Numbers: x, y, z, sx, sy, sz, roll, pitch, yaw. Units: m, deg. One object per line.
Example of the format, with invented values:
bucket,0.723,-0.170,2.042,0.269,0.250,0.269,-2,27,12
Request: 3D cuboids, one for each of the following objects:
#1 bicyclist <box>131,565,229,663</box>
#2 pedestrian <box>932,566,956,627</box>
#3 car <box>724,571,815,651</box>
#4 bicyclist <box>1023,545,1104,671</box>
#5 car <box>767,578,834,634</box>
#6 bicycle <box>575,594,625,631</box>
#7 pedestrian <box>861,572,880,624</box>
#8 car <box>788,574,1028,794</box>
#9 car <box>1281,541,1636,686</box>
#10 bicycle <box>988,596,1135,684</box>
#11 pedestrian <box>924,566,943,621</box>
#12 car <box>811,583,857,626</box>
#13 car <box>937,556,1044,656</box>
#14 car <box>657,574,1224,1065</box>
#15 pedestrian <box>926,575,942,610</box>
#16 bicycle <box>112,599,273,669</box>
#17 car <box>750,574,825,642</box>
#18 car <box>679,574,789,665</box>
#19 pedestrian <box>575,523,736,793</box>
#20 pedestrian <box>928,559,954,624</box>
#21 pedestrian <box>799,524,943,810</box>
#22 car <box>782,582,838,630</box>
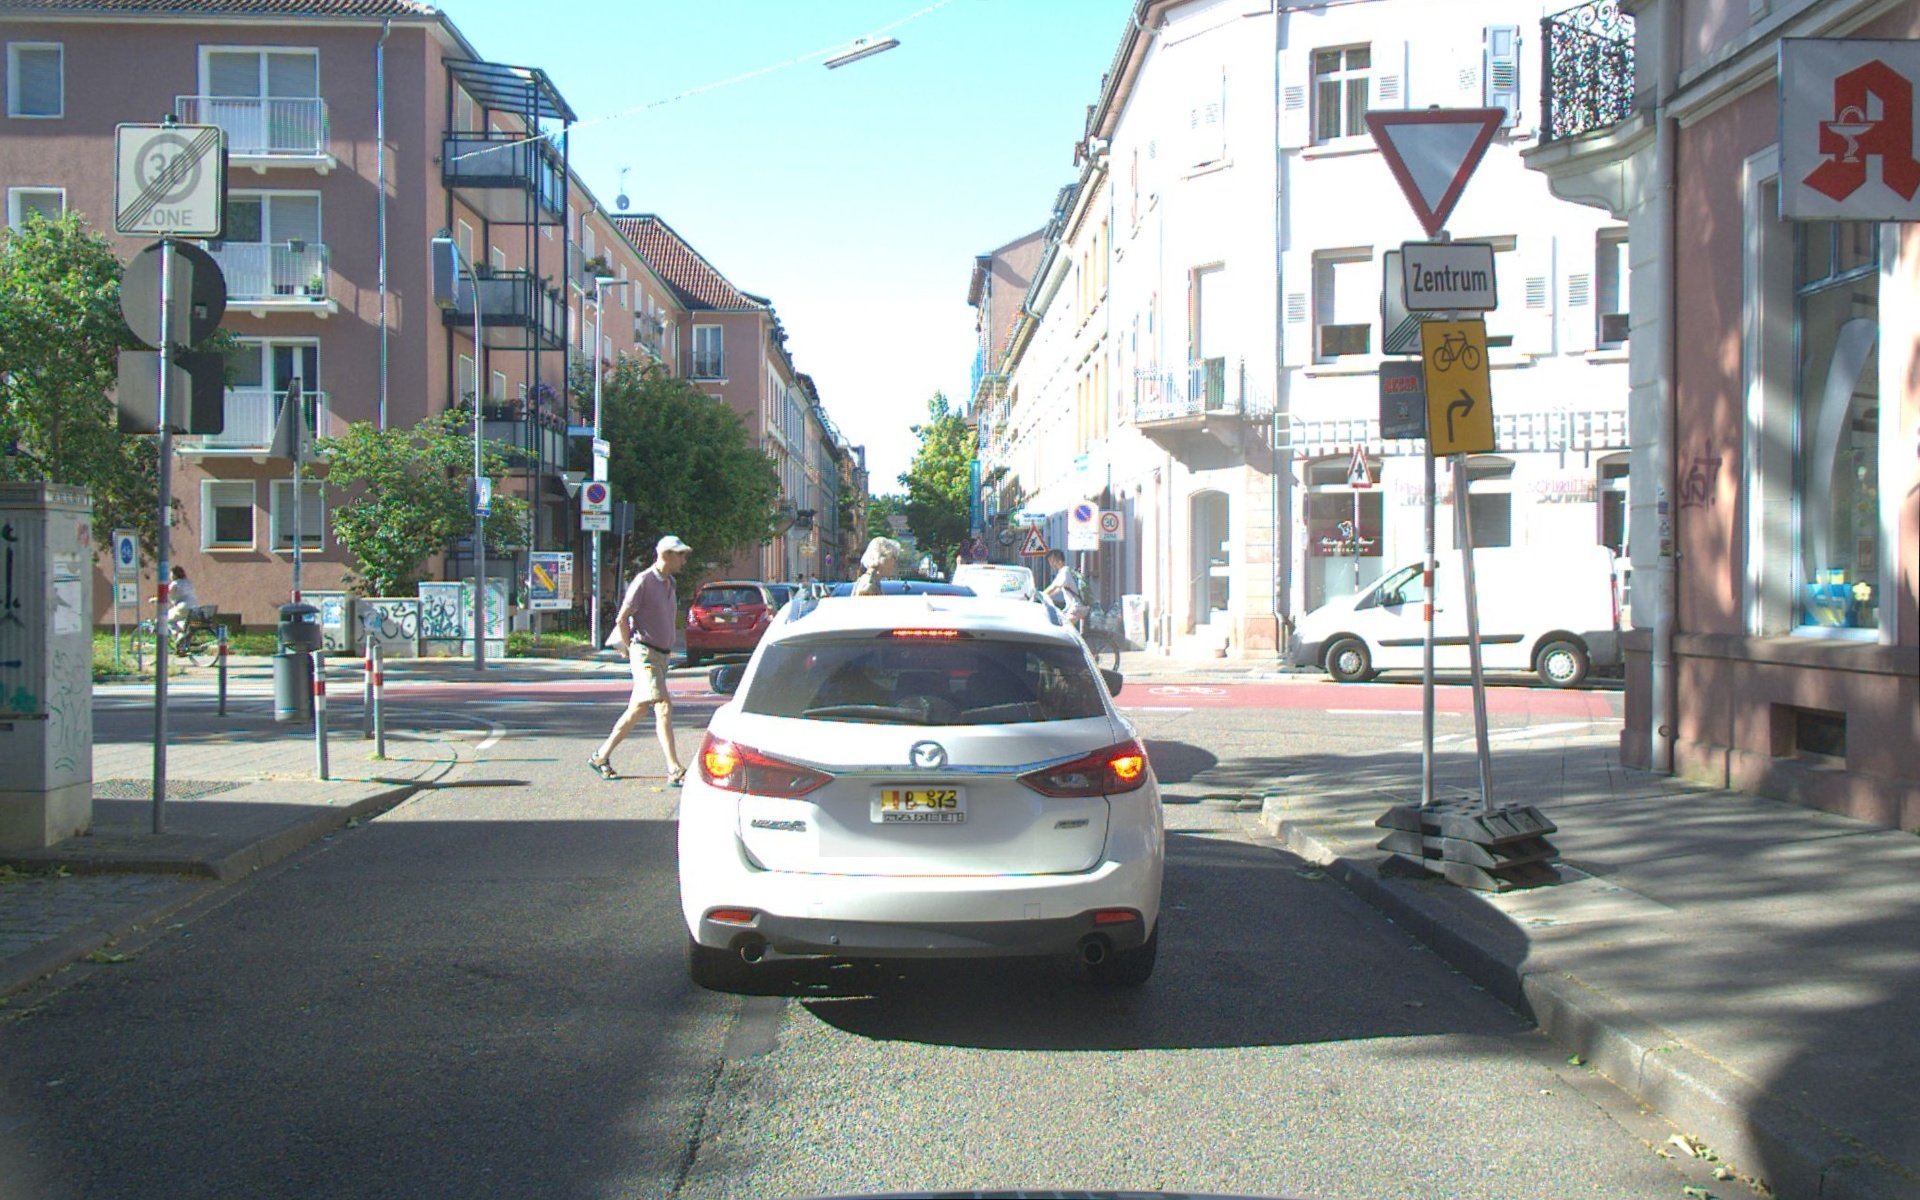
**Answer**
bicyclist,-12.566,0.228,26.663,1.170,1.543,0.841,0,0,13
pedestrian,-0.528,-0.121,53.324,0.755,1.952,0.834,0,0,-1
car,-4.271,0.235,37.493,1.685,1.712,3.725,0,0,-1
bicyclist,1.416,0.112,22.464,1.067,1.673,0.757,0,0,6
car,-4.763,0.176,49.780,1.685,1.604,3.725,0,0,-1
bicycle,-9.363,0.315,43.007,0.598,0.948,1.892,0,0,-34
pedestrian,-3.181,-0.059,58.817,0.634,1.828,0.639,0,0,-1
car,-0.433,0.566,13.283,1.648,1.507,3.659,0,0,-2
car,7.288,0.195,24.184,4.790,1.962,1.999,0,-2,23
bicycle,1.386,0.534,22.469,1.965,1.164,0.684,0,0,5
pedestrian,-1.045,-0.248,65.221,0.755,2.155,0.834,0,0,-1
car,-4.867,0.172,64.101,1.541,1.613,3.610,0,0,-1
car,0.582,0.114,35.278,1.904,1.982,4.075,1,0,-4
car,-0.133,0.677,7.146,1.787,1.540,3.822,0,1,-2
pedestrian,-1.268,-0.351,79.984,0.755,1.655,0.834,0,0,-1
bicycle,-12.354,0.549,26.638,2.373,1.098,0.791,0,0,13
car,-4.441,0.207,43.003,1.602,1.685,3.784,0,0,-1
car,-4.288,0.322,31.893,1.734,1.616,3.725,0,1,-2
pedestrian,-2.216,0.384,12.026,0.949,1.870,0.680,2,2,33
pedestrian,-0.575,-0.250,49.869,0.755,1.952,0.834,0,0,-1
pedestrian,-0.586,0.433,11.135,0.835,1.847,0.815,0,0,6
car,-4.847,0.181,53.791,1.569,1.503,3.566,0,0,-1
